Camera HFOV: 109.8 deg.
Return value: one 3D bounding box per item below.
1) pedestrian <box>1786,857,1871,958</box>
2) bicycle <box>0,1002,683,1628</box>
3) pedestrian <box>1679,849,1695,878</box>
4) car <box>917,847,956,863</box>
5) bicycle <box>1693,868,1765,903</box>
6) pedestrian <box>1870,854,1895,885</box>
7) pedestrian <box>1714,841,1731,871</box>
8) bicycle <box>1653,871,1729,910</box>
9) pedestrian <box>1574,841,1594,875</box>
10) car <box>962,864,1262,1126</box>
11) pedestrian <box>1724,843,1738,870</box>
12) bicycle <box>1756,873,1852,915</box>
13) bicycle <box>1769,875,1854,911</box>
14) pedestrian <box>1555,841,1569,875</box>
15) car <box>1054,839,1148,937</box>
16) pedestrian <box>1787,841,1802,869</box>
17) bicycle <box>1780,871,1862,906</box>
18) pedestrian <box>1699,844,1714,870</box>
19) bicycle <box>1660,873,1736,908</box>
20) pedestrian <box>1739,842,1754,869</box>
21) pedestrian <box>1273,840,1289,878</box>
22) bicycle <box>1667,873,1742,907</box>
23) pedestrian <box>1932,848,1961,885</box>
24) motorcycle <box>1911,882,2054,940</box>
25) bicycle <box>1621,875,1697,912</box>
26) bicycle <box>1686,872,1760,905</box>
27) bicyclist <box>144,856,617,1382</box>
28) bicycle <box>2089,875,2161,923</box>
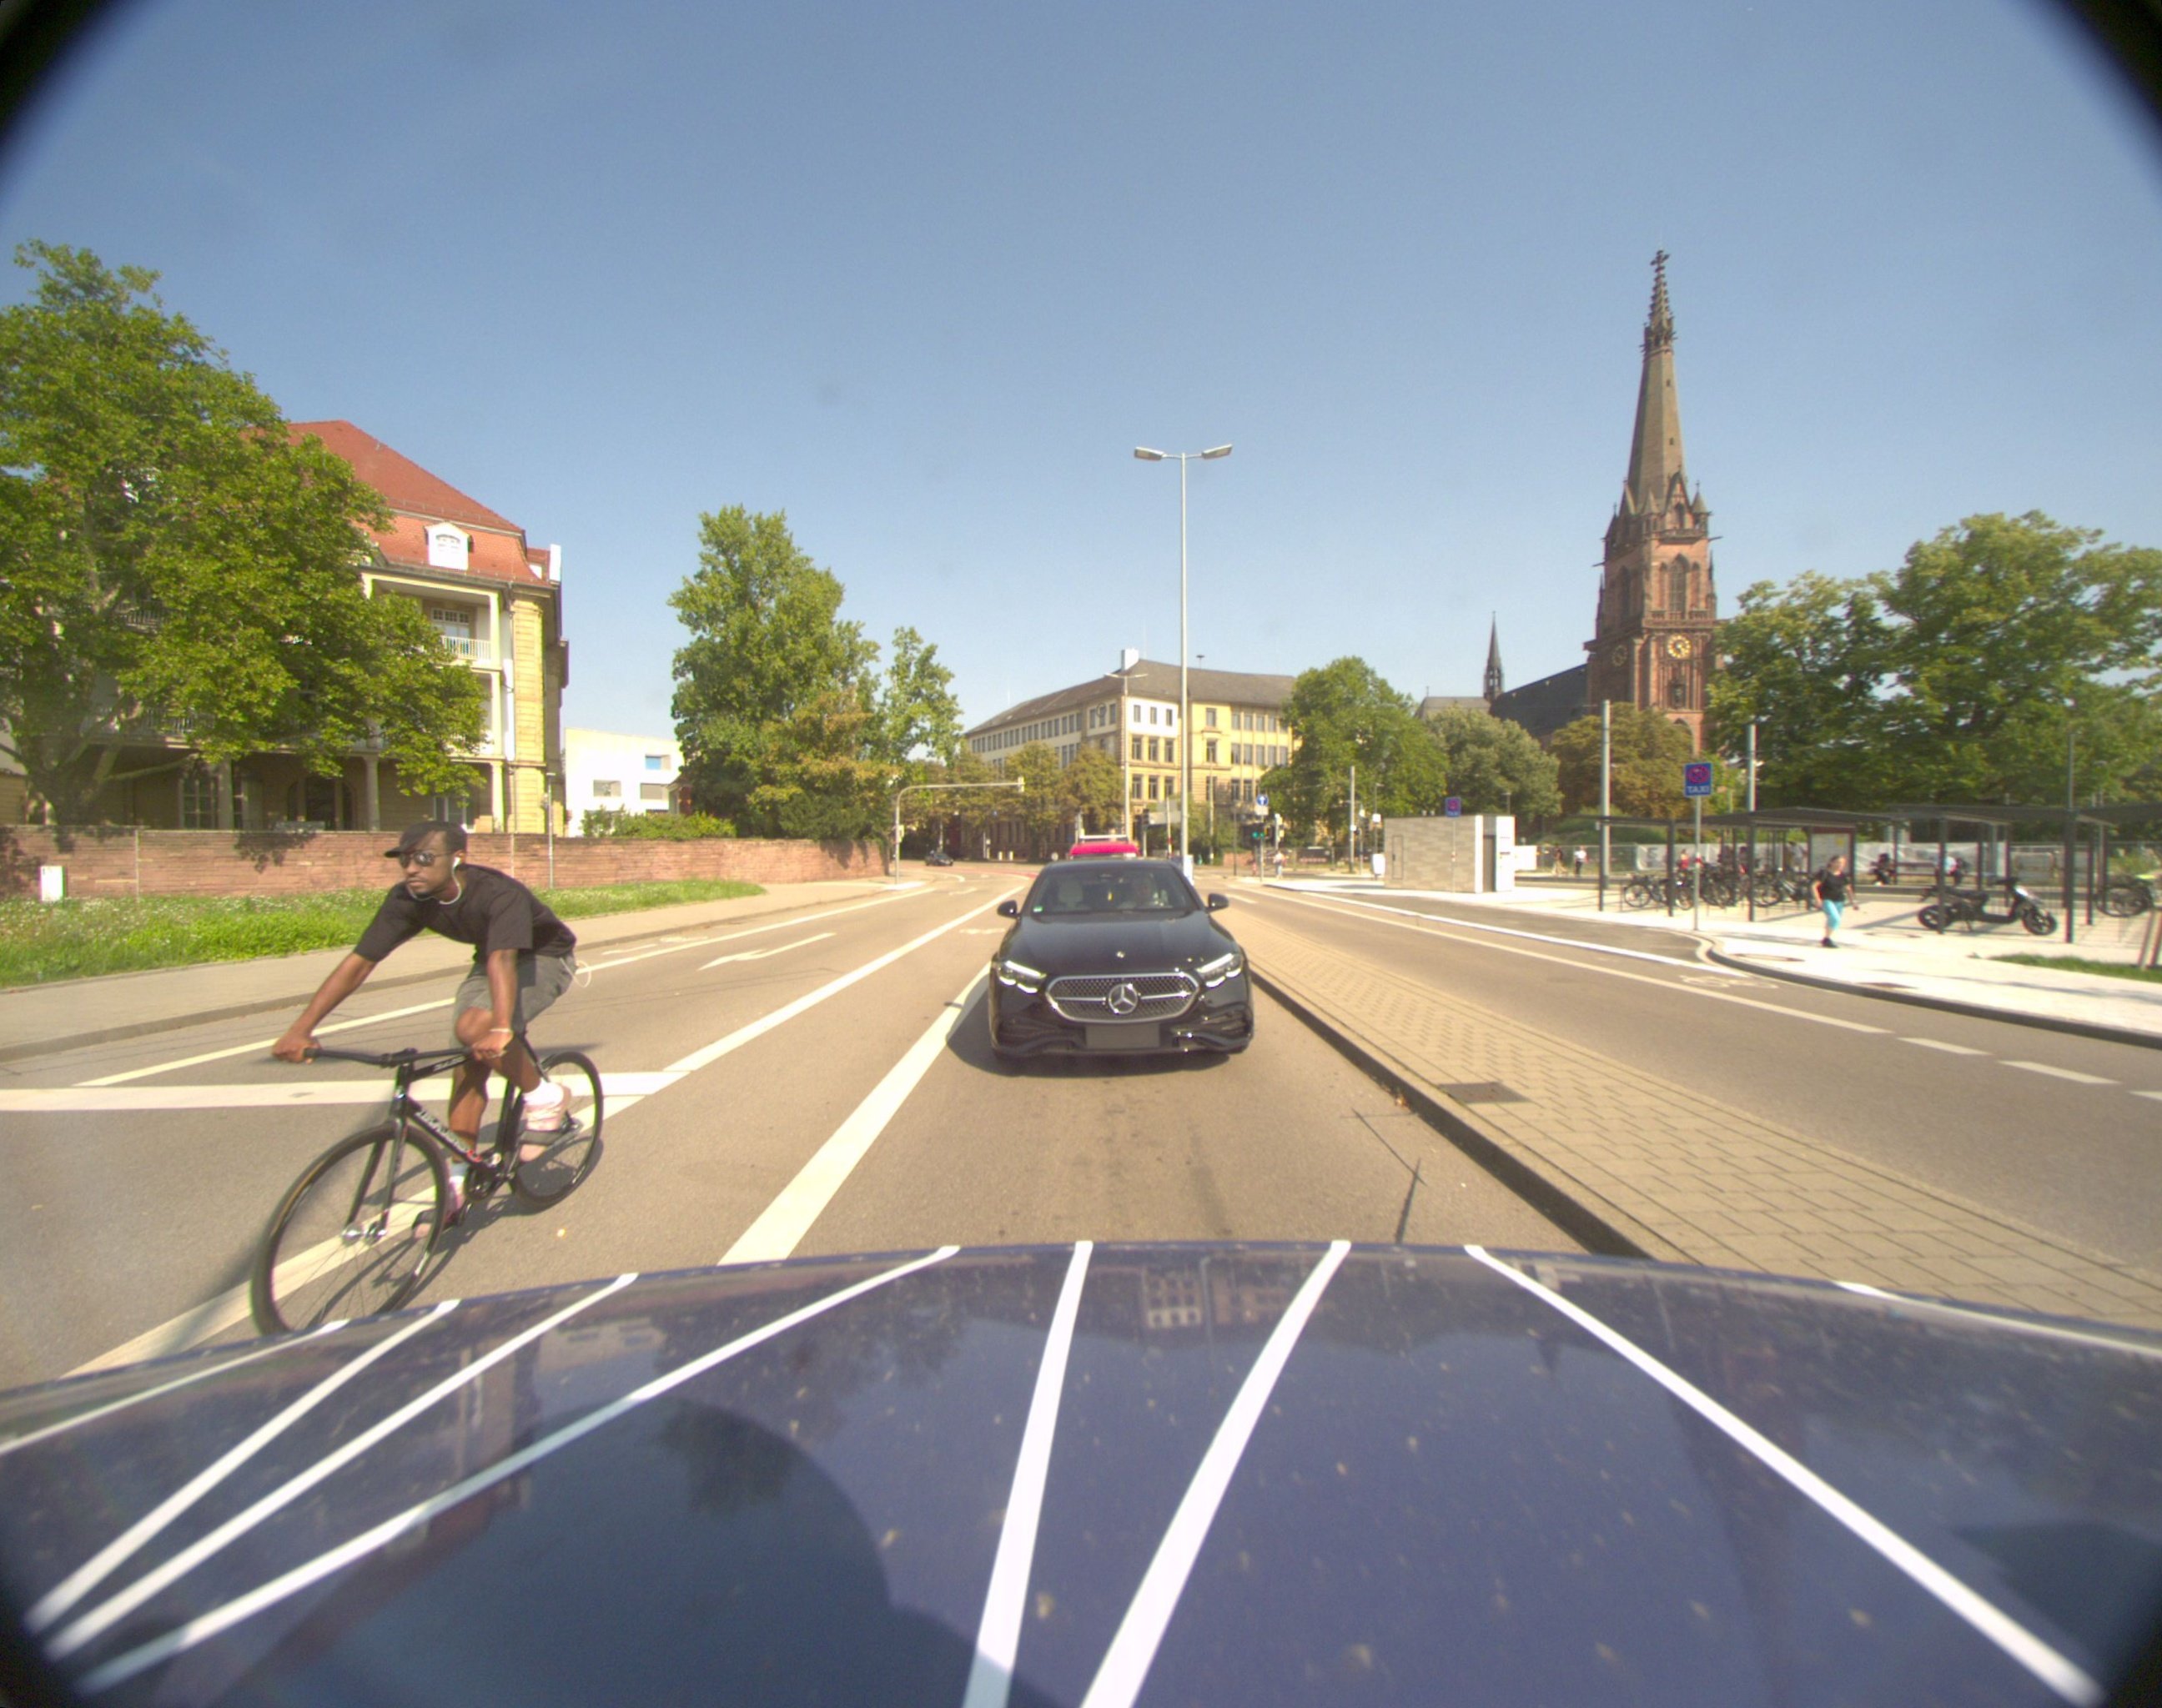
[{"bbox_3d":[11.944,0.829,12.159,0.754,1.556,0.666,-1,1,-16],"label":"pedestrian"},{"bbox_3d":[-2.403,1.249,2.781,0.774,0.970,2.149,0,1,-1],"label":"bicycle"},{"bbox_3d":[28.633,0.448,35.903,0.394,1.310,0.414,-3,2,-28],"label":"pedestrian"},{"bbox_3d":[-15.166,0.128,79.732,2.004,1.600,4.235,-3,1,-43],"label":"car"},{"bbox_3d":[19.629,0.926,23.041,0.453,0.972,1.584,-3,2,-33],"label":"bicycle"},{"bbox_3d":[31.645,0.603,30.005,0.468,1.190,0.572,-1,2,-32],"label":"pedestrian"},{"bbox_3d":[28.731,0.105,34.021,0.440,1.310,0.434,-3,2,-32],"label":"pedestrian"},{"bbox_3d":[16.734,0.990,20.879,0.422,0.962,1.584,-1,1,-33],"label":"bicycle"},{"bbox_3d":[25.699,0.199,38.837,0.716,1.738,0.389,0,1,-1],"label":"pedestrian"},{"bbox_3d":[0.295,0.890,7.082,1.824,1.432,4.873,0,1,3],"label":"car"},{"bbox_3d":[30.049,0.106,35.129,0.440,1.217,0.382,-3,2,-32],"label":"pedestrian"},{"bbox_3d":[18.835,1.012,19.829,0.534,0.981,1.709,-1,1,-33],"label":"bicycle"},{"bbox_3d":[19.647,1.029,20.458,0.411,0.887,1.584,-1,1,-33],"label":"bicycle"},{"bbox_3d":[24.368,0.181,38.525,0.517,1.697,0.504,1,2,25],"label":"pedestrian"},{"bbox_3d":[0.457,0.595,16.137,1.736,1.809,4.278,0,1,2],"label":"car"},{"bbox_3d":[31.407,0.059,33.449,0.440,1.217,0.382,-3,2,-32],"label":"pedestrian"},{"bbox_3d":[20.764,0.948,21.354,0.411,0.887,1.584,-1,1,-33],"label":"bicycle"},{"bbox_3d":[29.241,0.136,35.507,0.440,1.217,0.382,-3,2,-32],"label":"pedestrian"},{"bbox_3d":[17.290,0.995,21.320,0.402,0.887,1.584,-1,1,-33],"label":"bicycle"},{"bbox_3d":[30.326,0.086,34.625,0.440,1.217,0.382,-3,2,-32],"label":"pedestrian"},{"bbox_3d":[10.791,0.270,41.044,0.732,2.002,0.715,0,1,23],"label":"pedestrian"},{"bbox_3d":[17.740,1.006,21.648,0.411,0.887,1.584,-1,1,-33],"label":"bicycle"},{"bbox_3d":[32.496,0.461,28.528,0.663,1.387,0.642,-1,2,-35],"label":"pedestrian"},{"bbox_3d":[17.746,1.092,15.006,0.544,1.003,1.741,-1,1,-33],"label":"motorcycle"},{"bbox_3d":[15.453,1.047,20.347,0.402,0.887,1.584,-1,1,-33],"label":"bicycle"},{"bbox_3d":[18.723,0.989,22.202,0.402,0.887,1.584,-1,1,-33],"label":"bicycle"},{"bbox_3d":[-2.392,0.800,2.771,0.774,1.569,0.990,0,1,-1],"label":"bicyclist"},{"bbox_3d":[23.938,1.006,16.848,0.462,1.003,1.870,-1,1,-33],"label":"bicycle"}]
